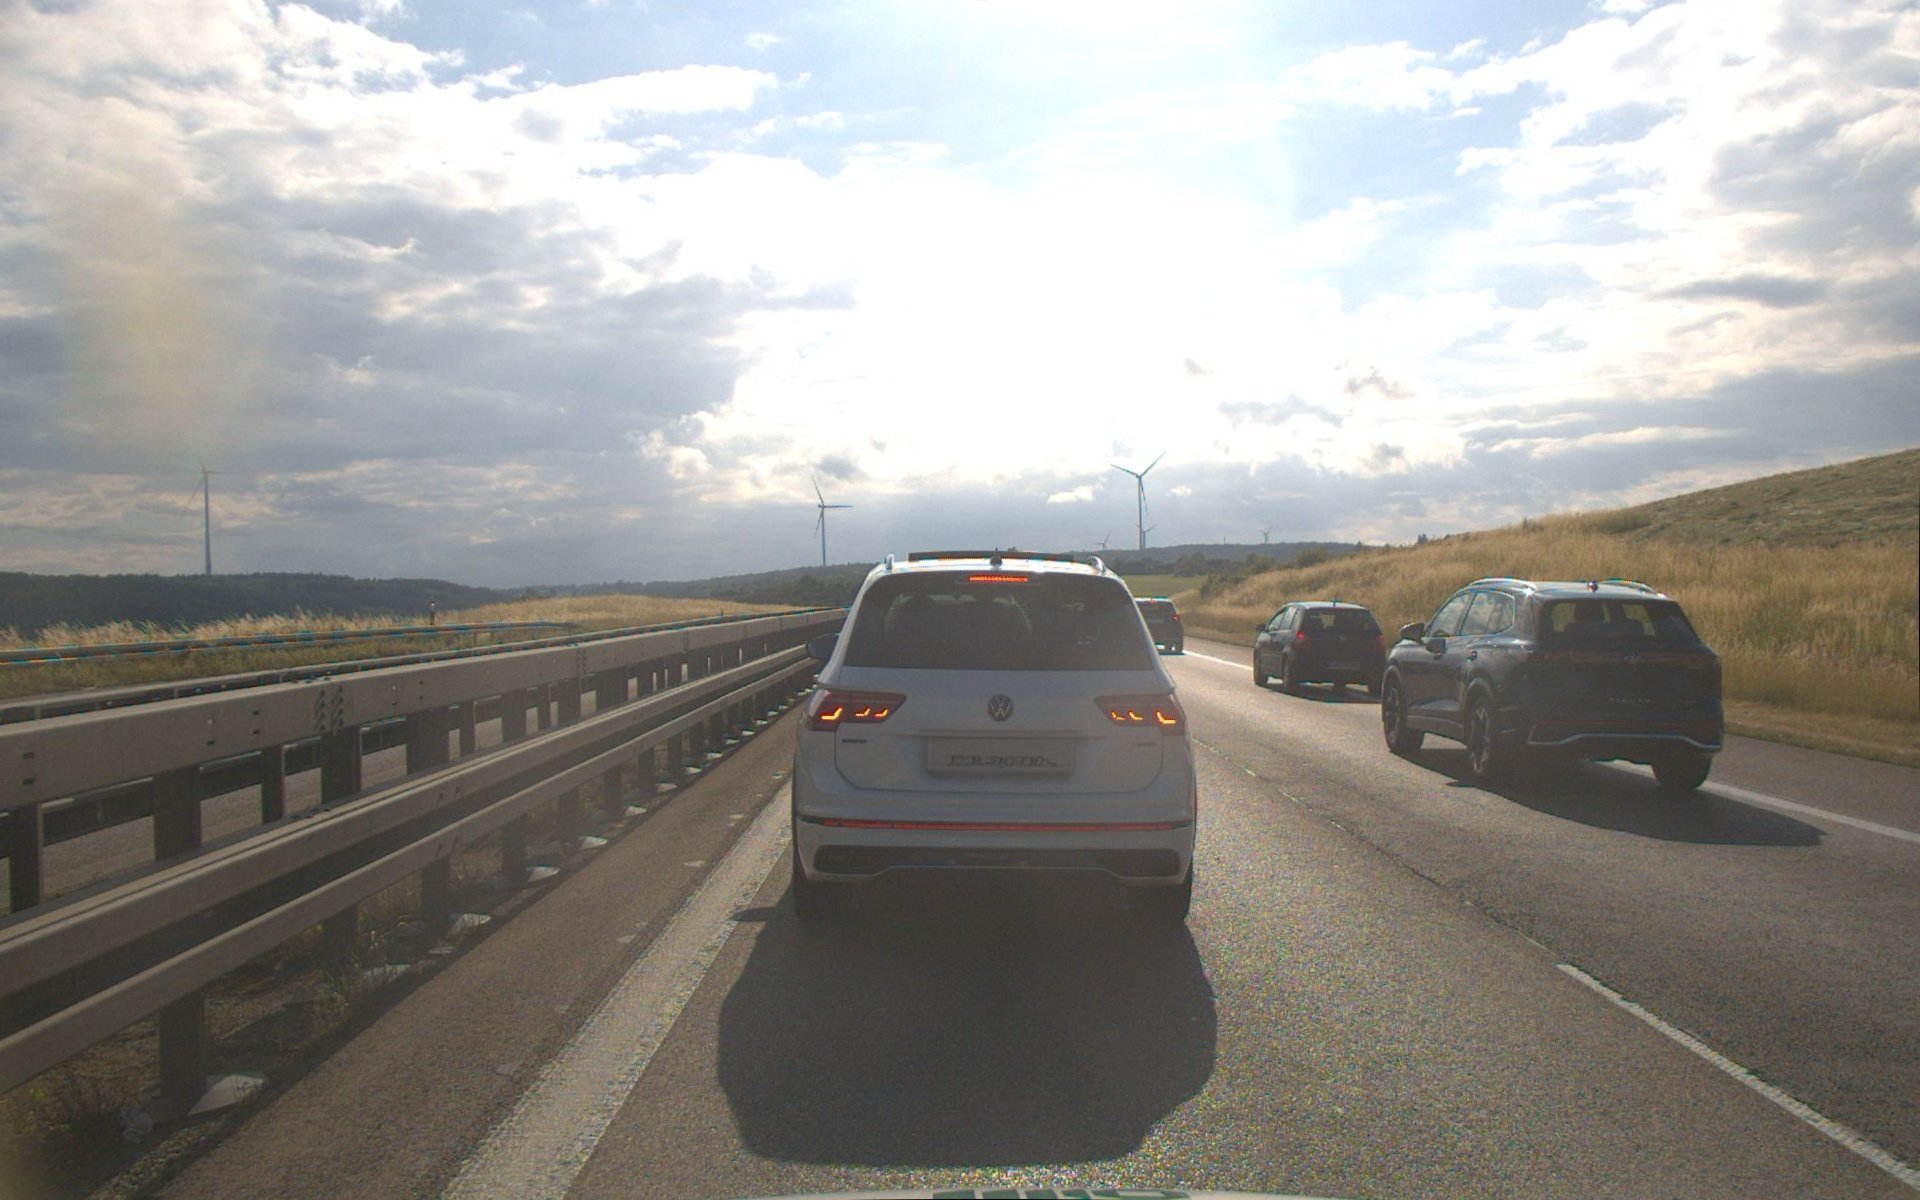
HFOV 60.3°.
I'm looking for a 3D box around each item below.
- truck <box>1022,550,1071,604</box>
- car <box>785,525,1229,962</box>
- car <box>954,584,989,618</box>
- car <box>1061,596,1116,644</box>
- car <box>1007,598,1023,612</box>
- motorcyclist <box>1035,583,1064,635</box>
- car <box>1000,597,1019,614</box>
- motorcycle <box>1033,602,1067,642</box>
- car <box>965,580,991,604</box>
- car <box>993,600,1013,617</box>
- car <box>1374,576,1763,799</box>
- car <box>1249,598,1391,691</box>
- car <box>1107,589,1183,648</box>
[{"bbox_3d":[6.020,-1.605,117.102,3.118,3.656,11.132,0,1,1],"label":"truck"},{"bbox_3d":[0.163,0.567,8.476,1.734,1.705,3.999,0,0,-1],"label":"car"},{"bbox_3d":[0.542,0.054,83.150,1.669,1.679,3.999,0,0,-1],"label":"car"},{"bbox_3d":[4.659,0.702,60.390,1.669,1.679,3.999,0,0,-1],"label":"car"},{"bbox_3d":[6.358,0.602,191.753,1.669,1.573,3.999,0,0,-1],"label":"car"},{"bbox_3d":[2.763,0.276,51.004,0.832,1.587,0.934,0,0,-1],"label":"motorcyclist"},{"bbox_3d":[4.770,0.531,160.926,1.669,1.573,3.999,0,0,-1],"label":"car"},{"bbox_3d":[2.758,0.659,51.047,0.877,1.211,2.256,0,0,-1],"label":"motorcycle"},{"bbox_3d":[1.232,-0.536,113.106,1.669,1.573,3.999,0,0,-1],"label":"car"},{"bbox_3d":[3.862,0.765,149.325,1.669,1.573,3.999,0,0,-1],"label":"car"},{"bbox_3d":[5.117,0.664,14.574,1.784,1.629,4.234,2,0,-1],"label":"car"},{"bbox_3d":[5.925,0.701,27.574,1.573,1.445,3.672,0,0,0],"label":"car"},{"bbox_3d":[5.173,0.505,46.657,1.669,1.573,3.999,0,0,-1],"label":"car"}]
